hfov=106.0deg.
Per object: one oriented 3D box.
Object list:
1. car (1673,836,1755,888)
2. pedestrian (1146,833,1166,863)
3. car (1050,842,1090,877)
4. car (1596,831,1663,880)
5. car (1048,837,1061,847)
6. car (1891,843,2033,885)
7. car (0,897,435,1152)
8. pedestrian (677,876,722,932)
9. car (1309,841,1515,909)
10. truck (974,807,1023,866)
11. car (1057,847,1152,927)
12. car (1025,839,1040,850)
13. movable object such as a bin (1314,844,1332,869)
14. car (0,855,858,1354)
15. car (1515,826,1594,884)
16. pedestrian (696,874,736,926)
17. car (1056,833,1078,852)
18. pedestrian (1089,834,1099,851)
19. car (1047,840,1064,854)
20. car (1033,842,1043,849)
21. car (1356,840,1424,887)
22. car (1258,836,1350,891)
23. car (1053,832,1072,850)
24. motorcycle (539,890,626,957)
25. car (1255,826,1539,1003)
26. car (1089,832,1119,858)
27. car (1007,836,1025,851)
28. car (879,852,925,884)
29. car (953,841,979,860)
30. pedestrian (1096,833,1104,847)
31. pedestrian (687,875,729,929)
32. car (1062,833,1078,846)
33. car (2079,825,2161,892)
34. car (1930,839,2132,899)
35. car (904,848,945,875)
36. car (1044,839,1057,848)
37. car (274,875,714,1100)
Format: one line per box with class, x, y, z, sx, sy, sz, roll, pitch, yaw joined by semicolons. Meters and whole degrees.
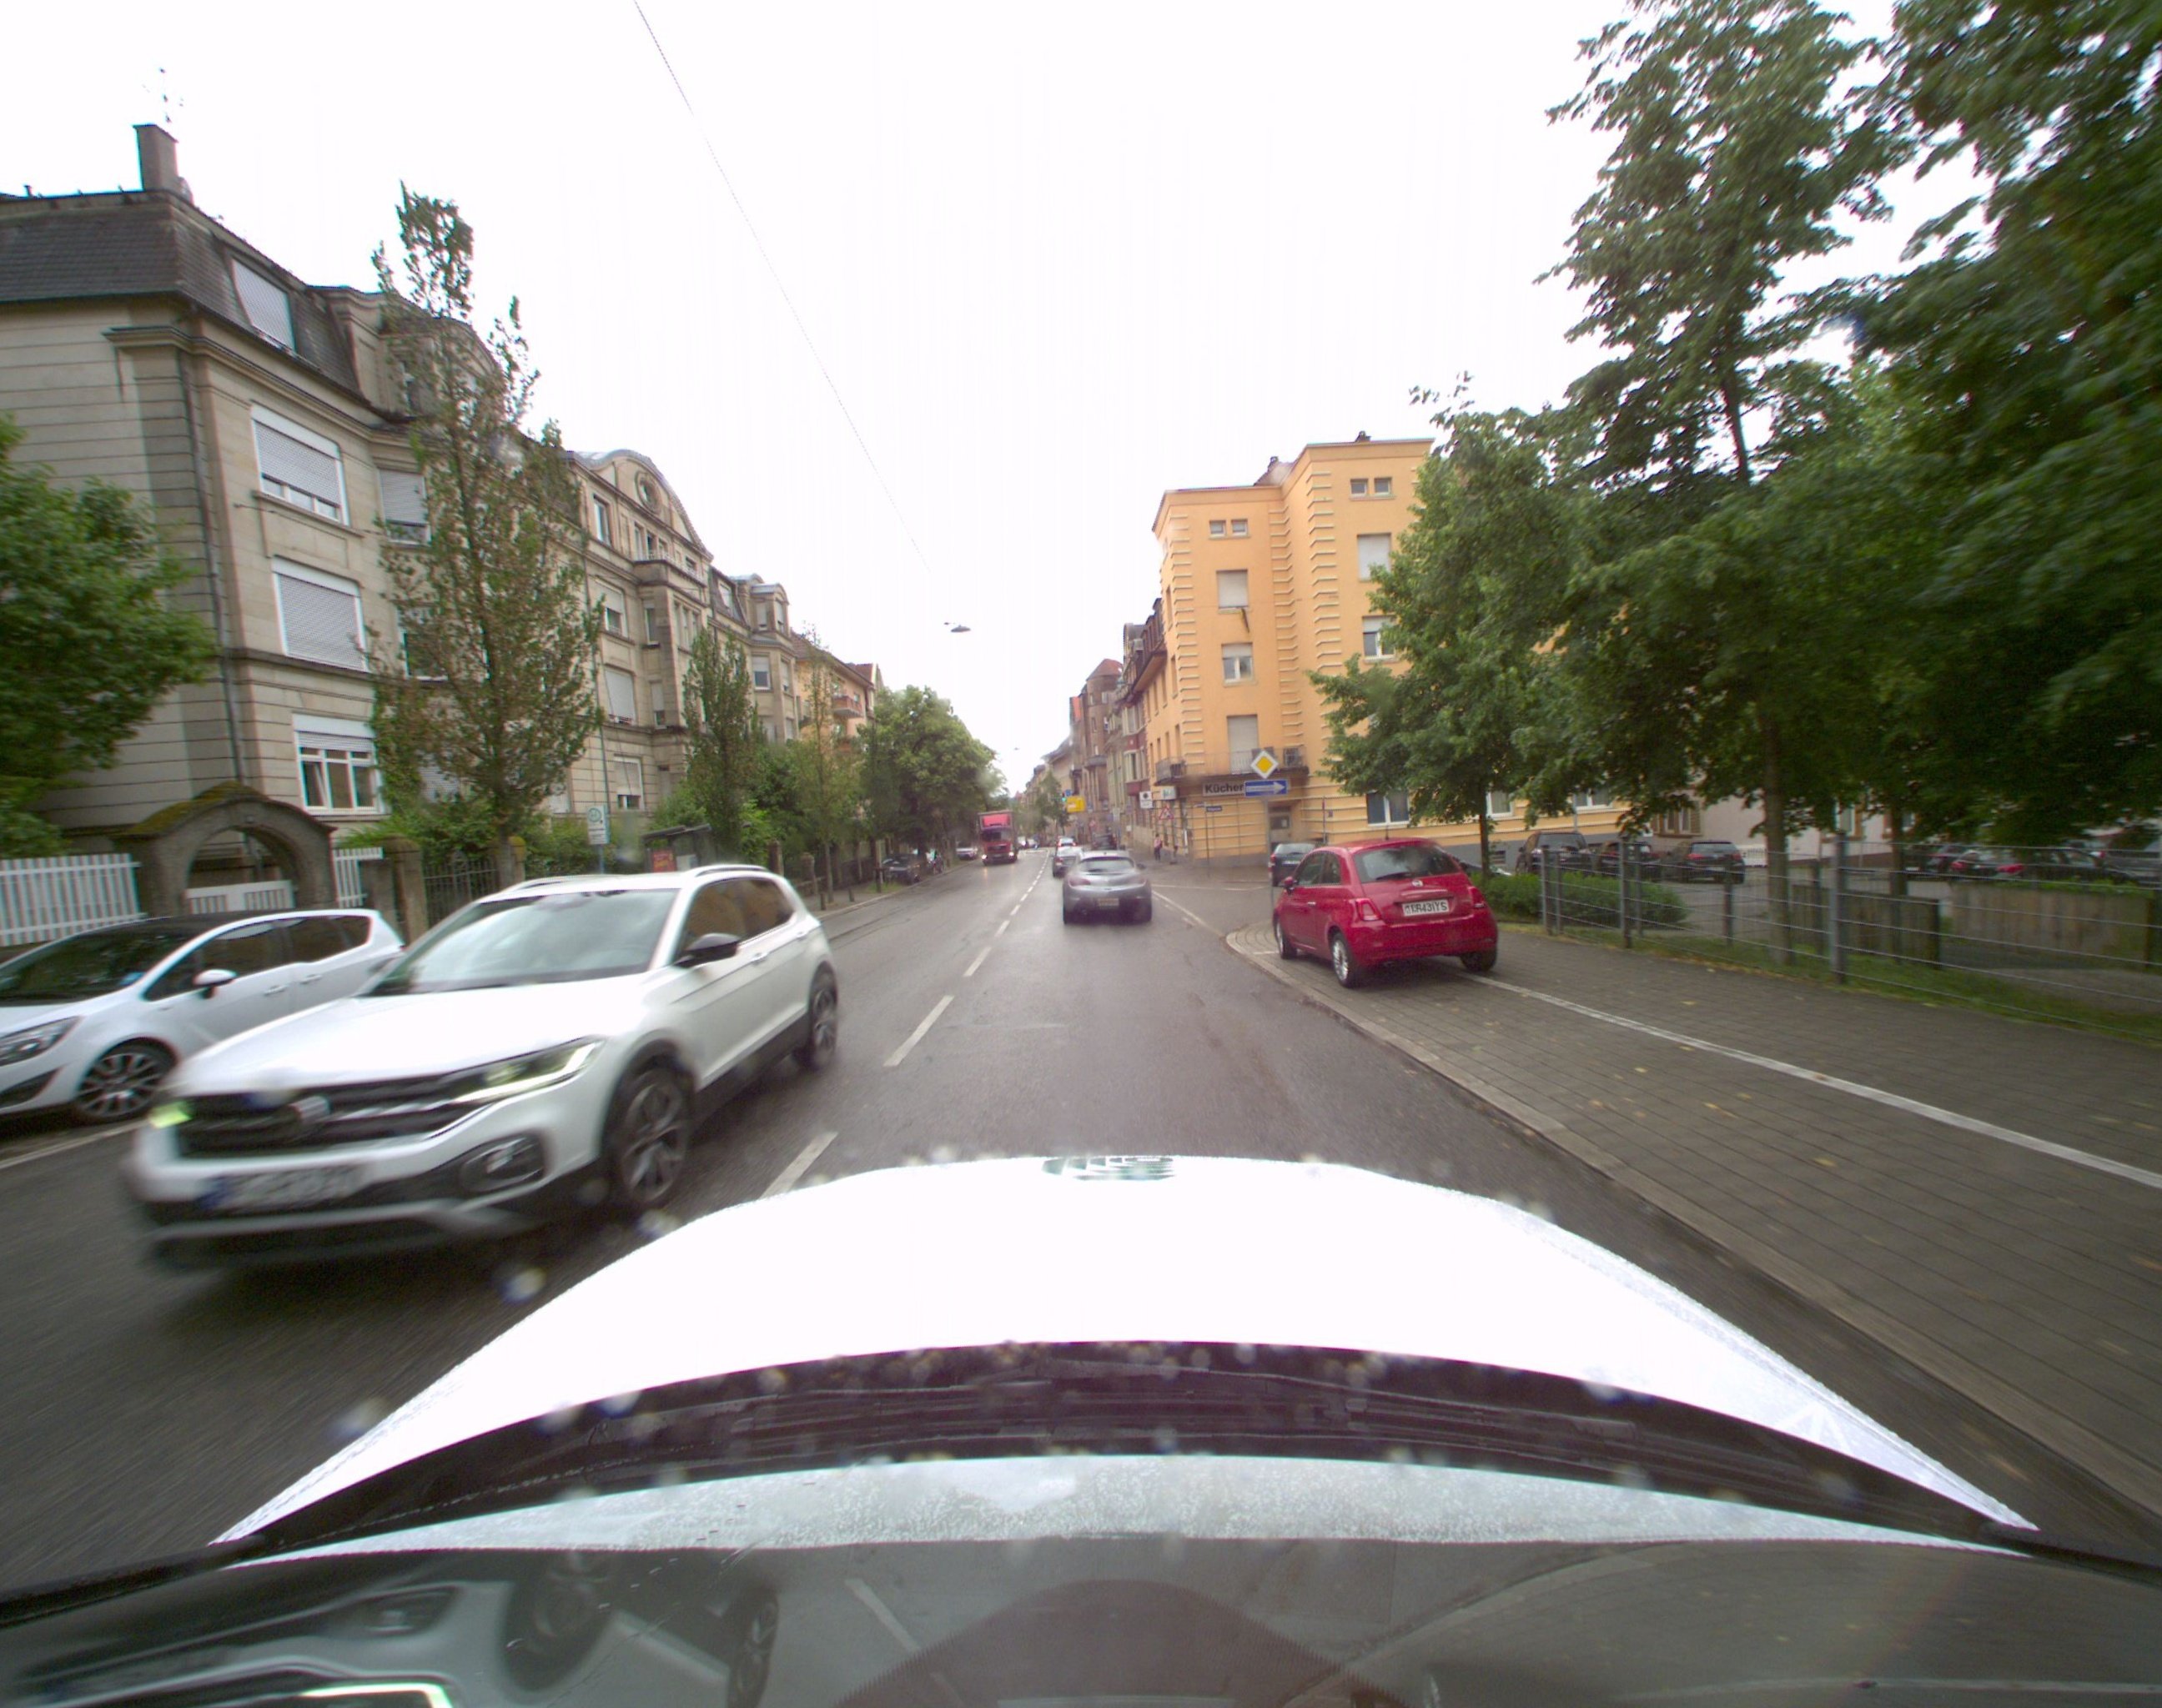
car;21.462;0.242;27.742;1.686;1.469;3.636;-4;1;31
pedestrian;4.101;-0.312;44.408;0.769;1.589;0.707;-5;1;-21
car;-0.516;0.240;39.074;1.767;1.504;3.867;-3;1;-1
car;18.725;-0.016;27.934;1.687;1.468;3.636;1;3;31
car;-4.486;-1.989;137.953;1.638;1.520;3.173;-7;1;-9
car;32.017;0.330;29.657;3.508;1.388;1.611;-1;3;-3
car;-8.779;1.372;7.881;1.738;1.559;4.297;-2;1;-3
pedestrian;-10.563;1.370;22.559;0.764;1.432;0.759;-4;1;-1
car;7.989;0.462;19.883;4.263;1.498;1.998;-1;1;-7
truck;-6.102;-1.325;61.663;2.641;3.854;9.301;-6;1;-2
car;0.454;0.629;17.891;1.805;1.449;3.868;-3;1;0
car;-7.110;-1.351;118.584;1.813;1.517;4.539;-3;1;-6
movable object such as a bin;9.767;0.083;32.888;0.503;0.930;0.513;-5;3;-1
car;-2.808;0.862;4.864;1.767;1.517;4.098;-5;1;-1
car;15.992;-0.033;27.710;1.688;1.724;4.565;-1;2;22
pedestrian;-10.698;1.342;23.893;0.763;1.432;0.649;-4;1;0
car;-1.179;-0.948;69.038;1.767;1.504;3.867;-3;1;-1
pedestrian;1.502;-1.316;93.865;0.712;1.773;0.669;-5;2;17
car;-3.272;-0.888;102.907;1.656;1.542;3.655;-6;1;-8
car;-8.988;-1.731;170.224;1.637;1.429;3.367;-5;1;-8
car;10.641;0.315;27.900;1.687;1.492;3.659;-1;-1;28
car;7.497;0.268;27.130;1.831;1.469;4.137;-4;1;31
car;-1.869;-1.290;81.806;1.653;1.542;3.662;-6;1;-2
motorcycle;-10.811;1.481;17.741;0.653;1.237;1.764;-4;1;2
car;3.371;0.537;9.552;1.605;1.501;3.956;-5;1;-1
car;1.689;-0.690;61.745;1.871;1.629;4.695;-7;1;-1
car;-7.447;-1.233;94.061;1.768;1.517;4.588;-4;3;-2
car;-9.302;0.689;42.633;1.738;1.559;4.296;-1;1;-4
car;-10.138;-0.305;72.055;1.736;1.559;4.300;-2;1;-1
pedestrian;2.170;-1.623;93.638;0.592;1.584;0.668;-5;2;17
pedestrian;-10.638;1.361;23.234;0.763;1.432;0.649;-4;1;0
car;-1.576;-2.078;116.472;1.656;1.542;3.655;-6;1;-8
car;30.367;0.085;22.076;4.312;1.707;1.967;-1;3;-3
car;25.239;0.364;21.719;3.511;1.425;1.776;-1;3;-5
car;-9.681;0.419;50.722;1.736;1.559;4.300;-2;1;-1
car;-5.410;-1.841;143.715;1.757;1.461;4.709;-7;1;-9
car;-5.695;1.145;8.641;1.739;1.517;3.867;-7;1;-1
